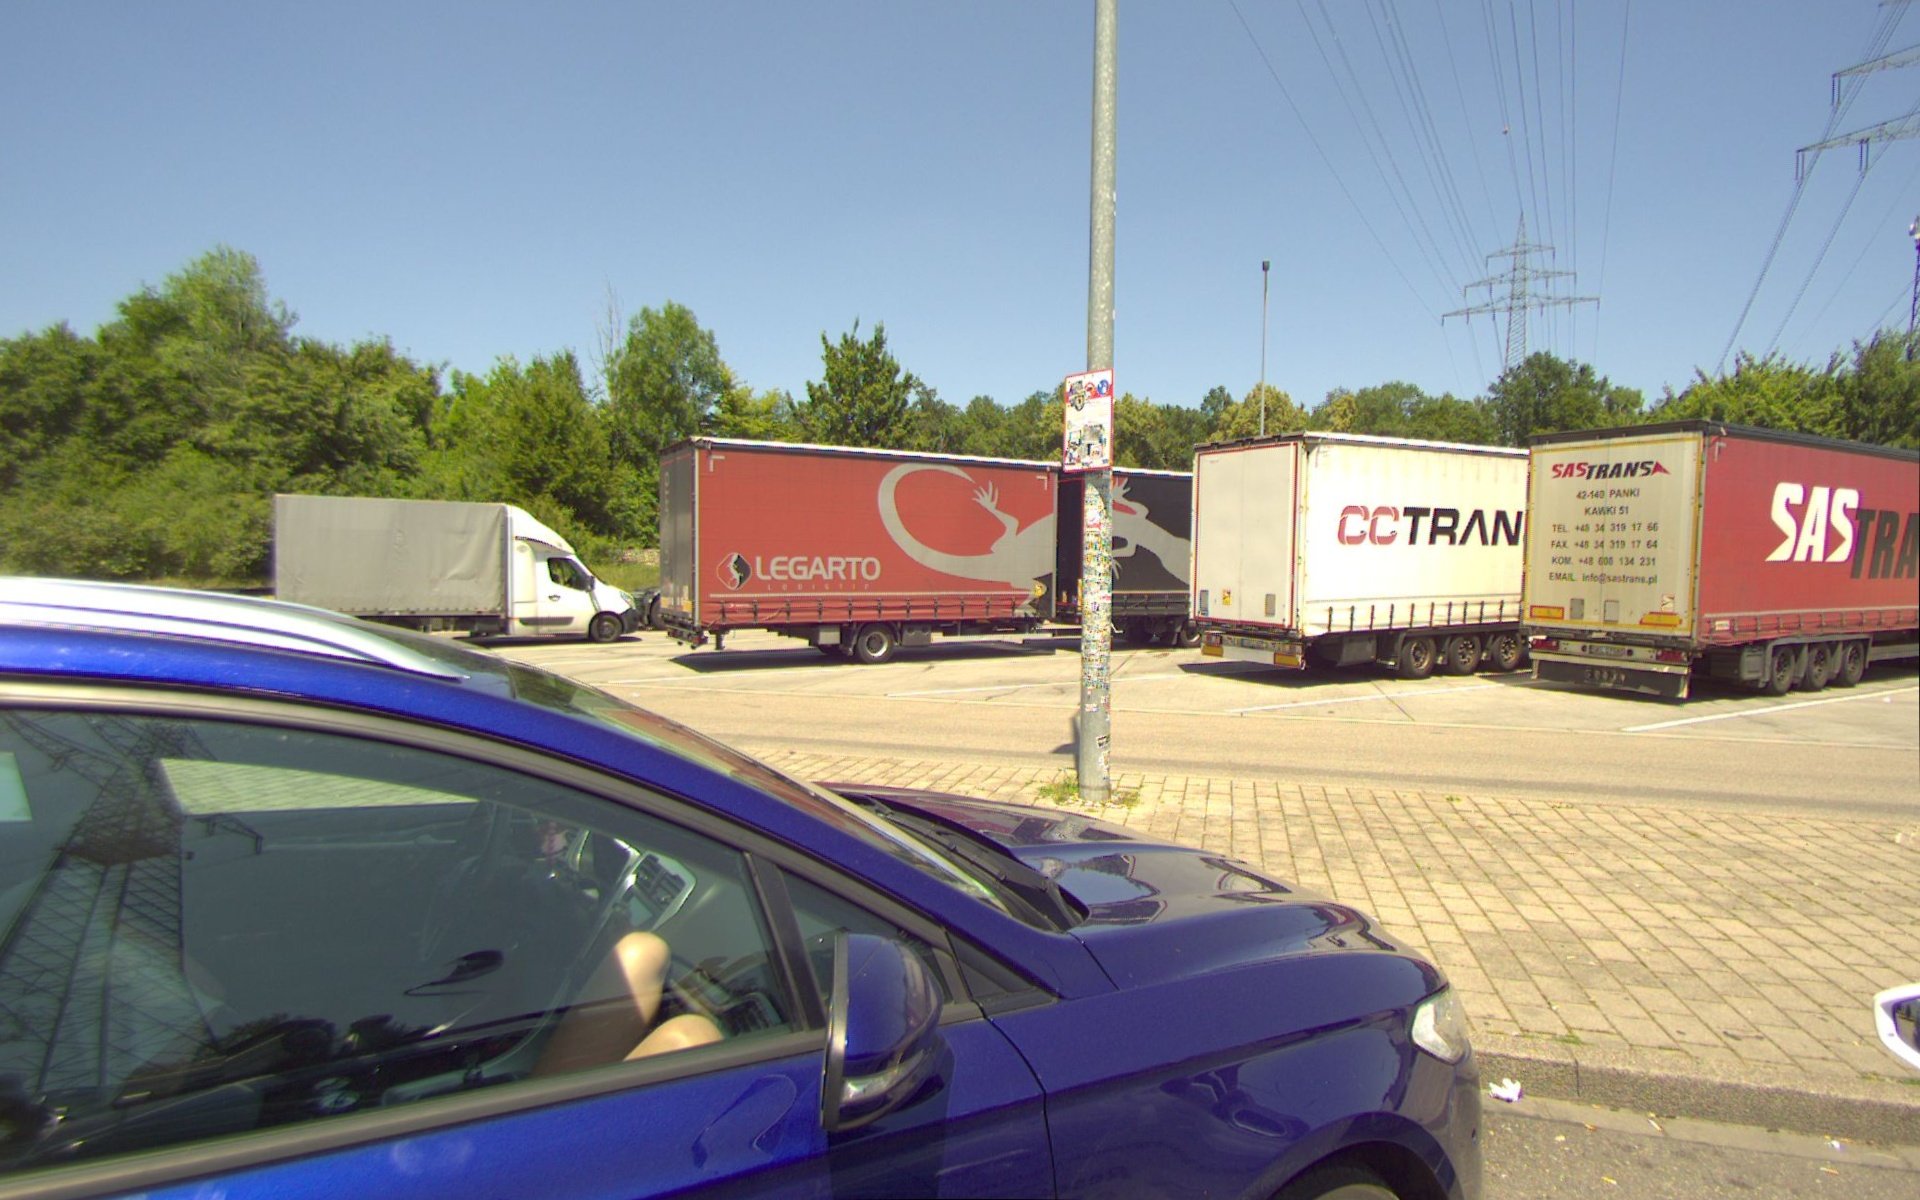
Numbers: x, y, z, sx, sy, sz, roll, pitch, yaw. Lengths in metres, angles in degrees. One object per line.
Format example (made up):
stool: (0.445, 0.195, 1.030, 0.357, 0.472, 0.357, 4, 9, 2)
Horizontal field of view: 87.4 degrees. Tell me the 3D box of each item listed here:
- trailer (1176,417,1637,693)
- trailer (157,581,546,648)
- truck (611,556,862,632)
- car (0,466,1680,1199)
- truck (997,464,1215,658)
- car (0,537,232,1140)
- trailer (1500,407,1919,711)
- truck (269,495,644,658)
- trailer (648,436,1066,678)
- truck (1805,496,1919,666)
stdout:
trailer: (8.883, -0.816, 19.323, 10.049, 4.267, 2.714, -1, 3, -30)
trailer: (-14.814, 0.264, 25.181, 7.996, 1.394, 2.211, -1, 3, -30)
truck: (-6.466, -0.158, 29.521, 6.961, 2.040, 1.984, 0, 0, -30)
car: (-0.964, 0.659, 1.465, 4.592, 1.502, 1.727, 0, 0, -33)
truck: (3.372, -0.900, 23.356, 4.273, 4.072, 2.689, -1, 3, -30)
car: (-4.537, 0.587, 2.250, 4.592, 1.554, 1.726, 0, 1, -33)
trailer: (15.422, -0.698, 18.558, 13.559, 4.189, 2.892, -1, 3, -30)
truck: (-11.186, -0.568, 22.898, 7.254, 3.254, 2.515, -1, 3, -30)
trailer: (-1.910, -0.825, 20.262, 7.996, 4.101, 2.696, -1, 3, -30)
truck: (21.744, -0.427, 22.302, 5.418, 3.475, 2.838, -1, 3, -30)
